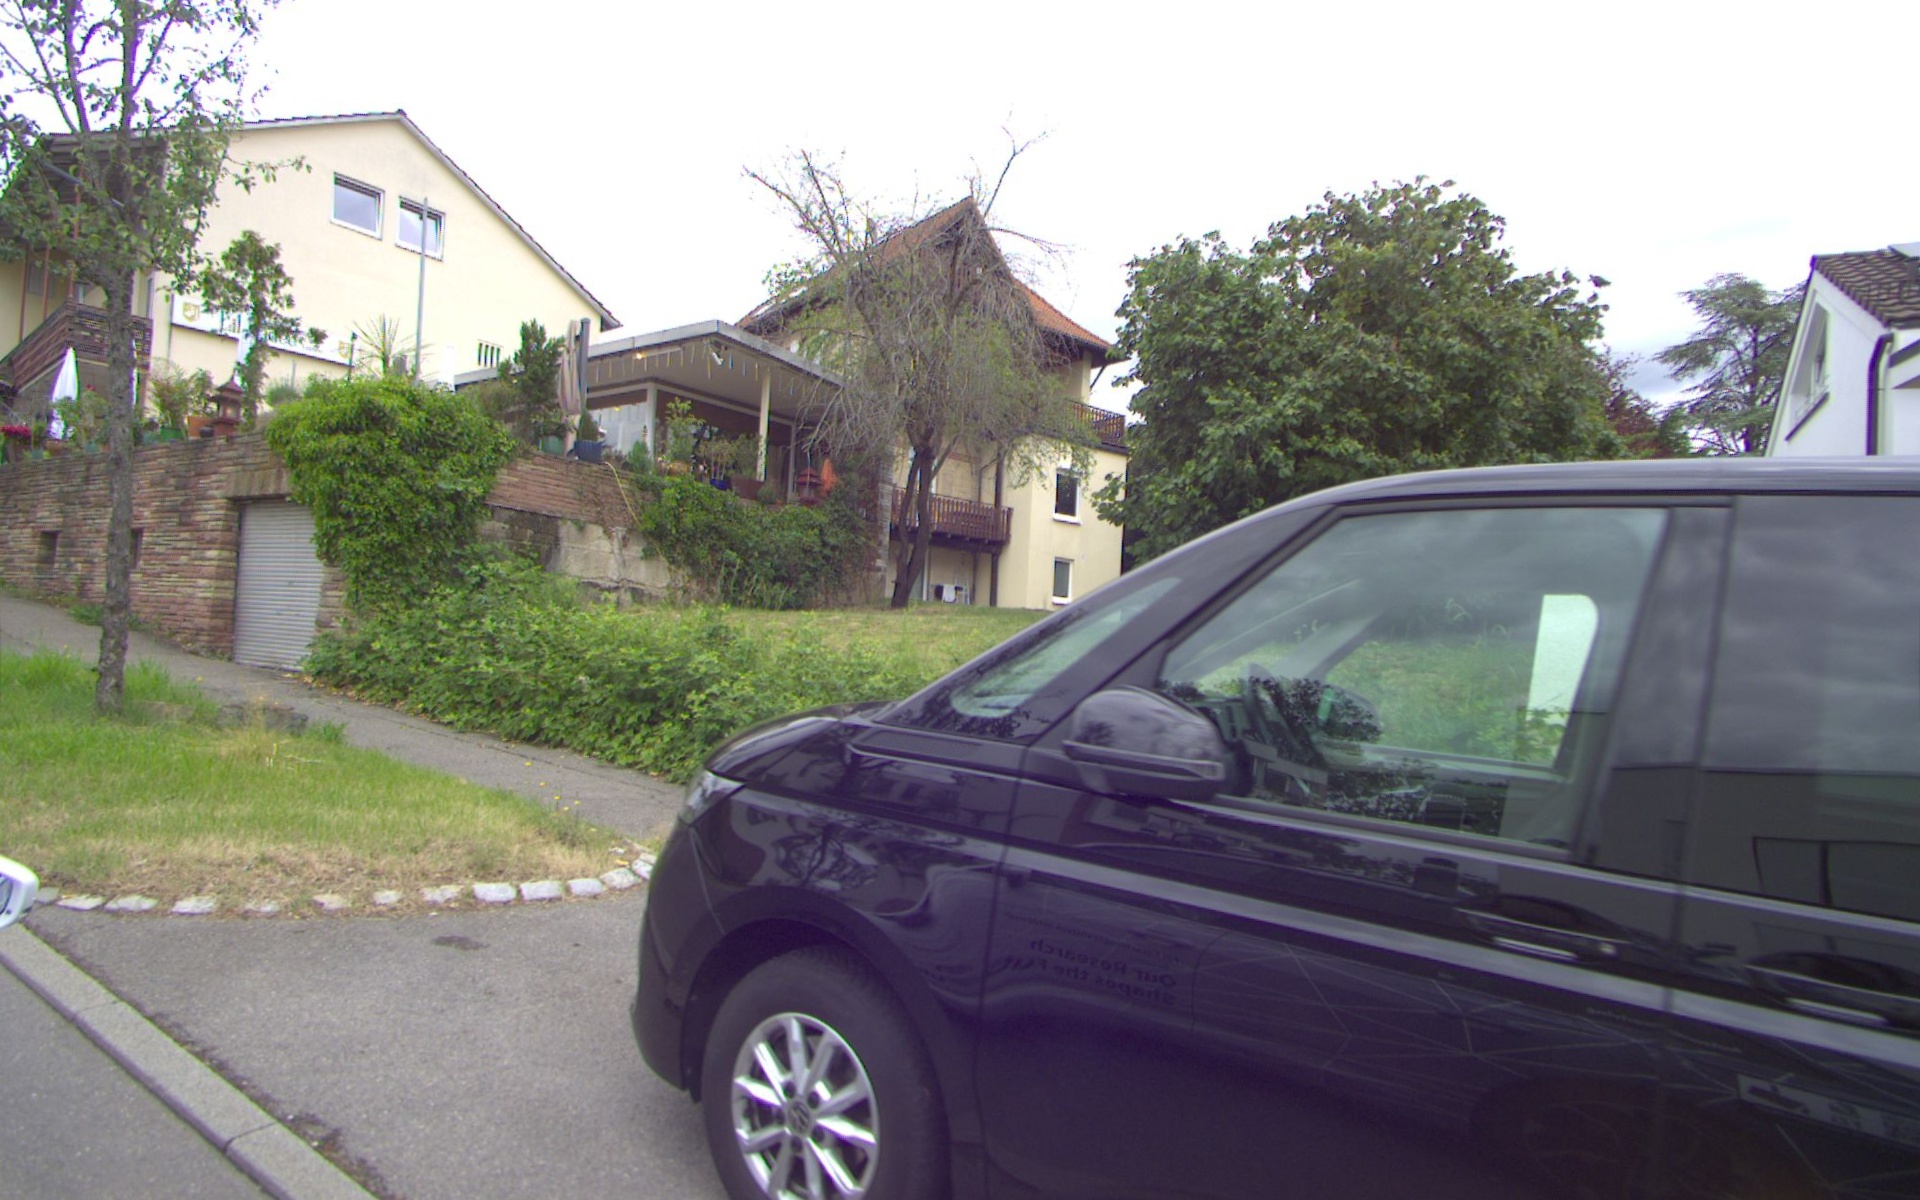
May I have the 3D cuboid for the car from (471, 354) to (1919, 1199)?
[{"bbox_3d":[1.476,0.686,2.124,5.132,1.860,1.938,6,0,32],"label":"car"}]
